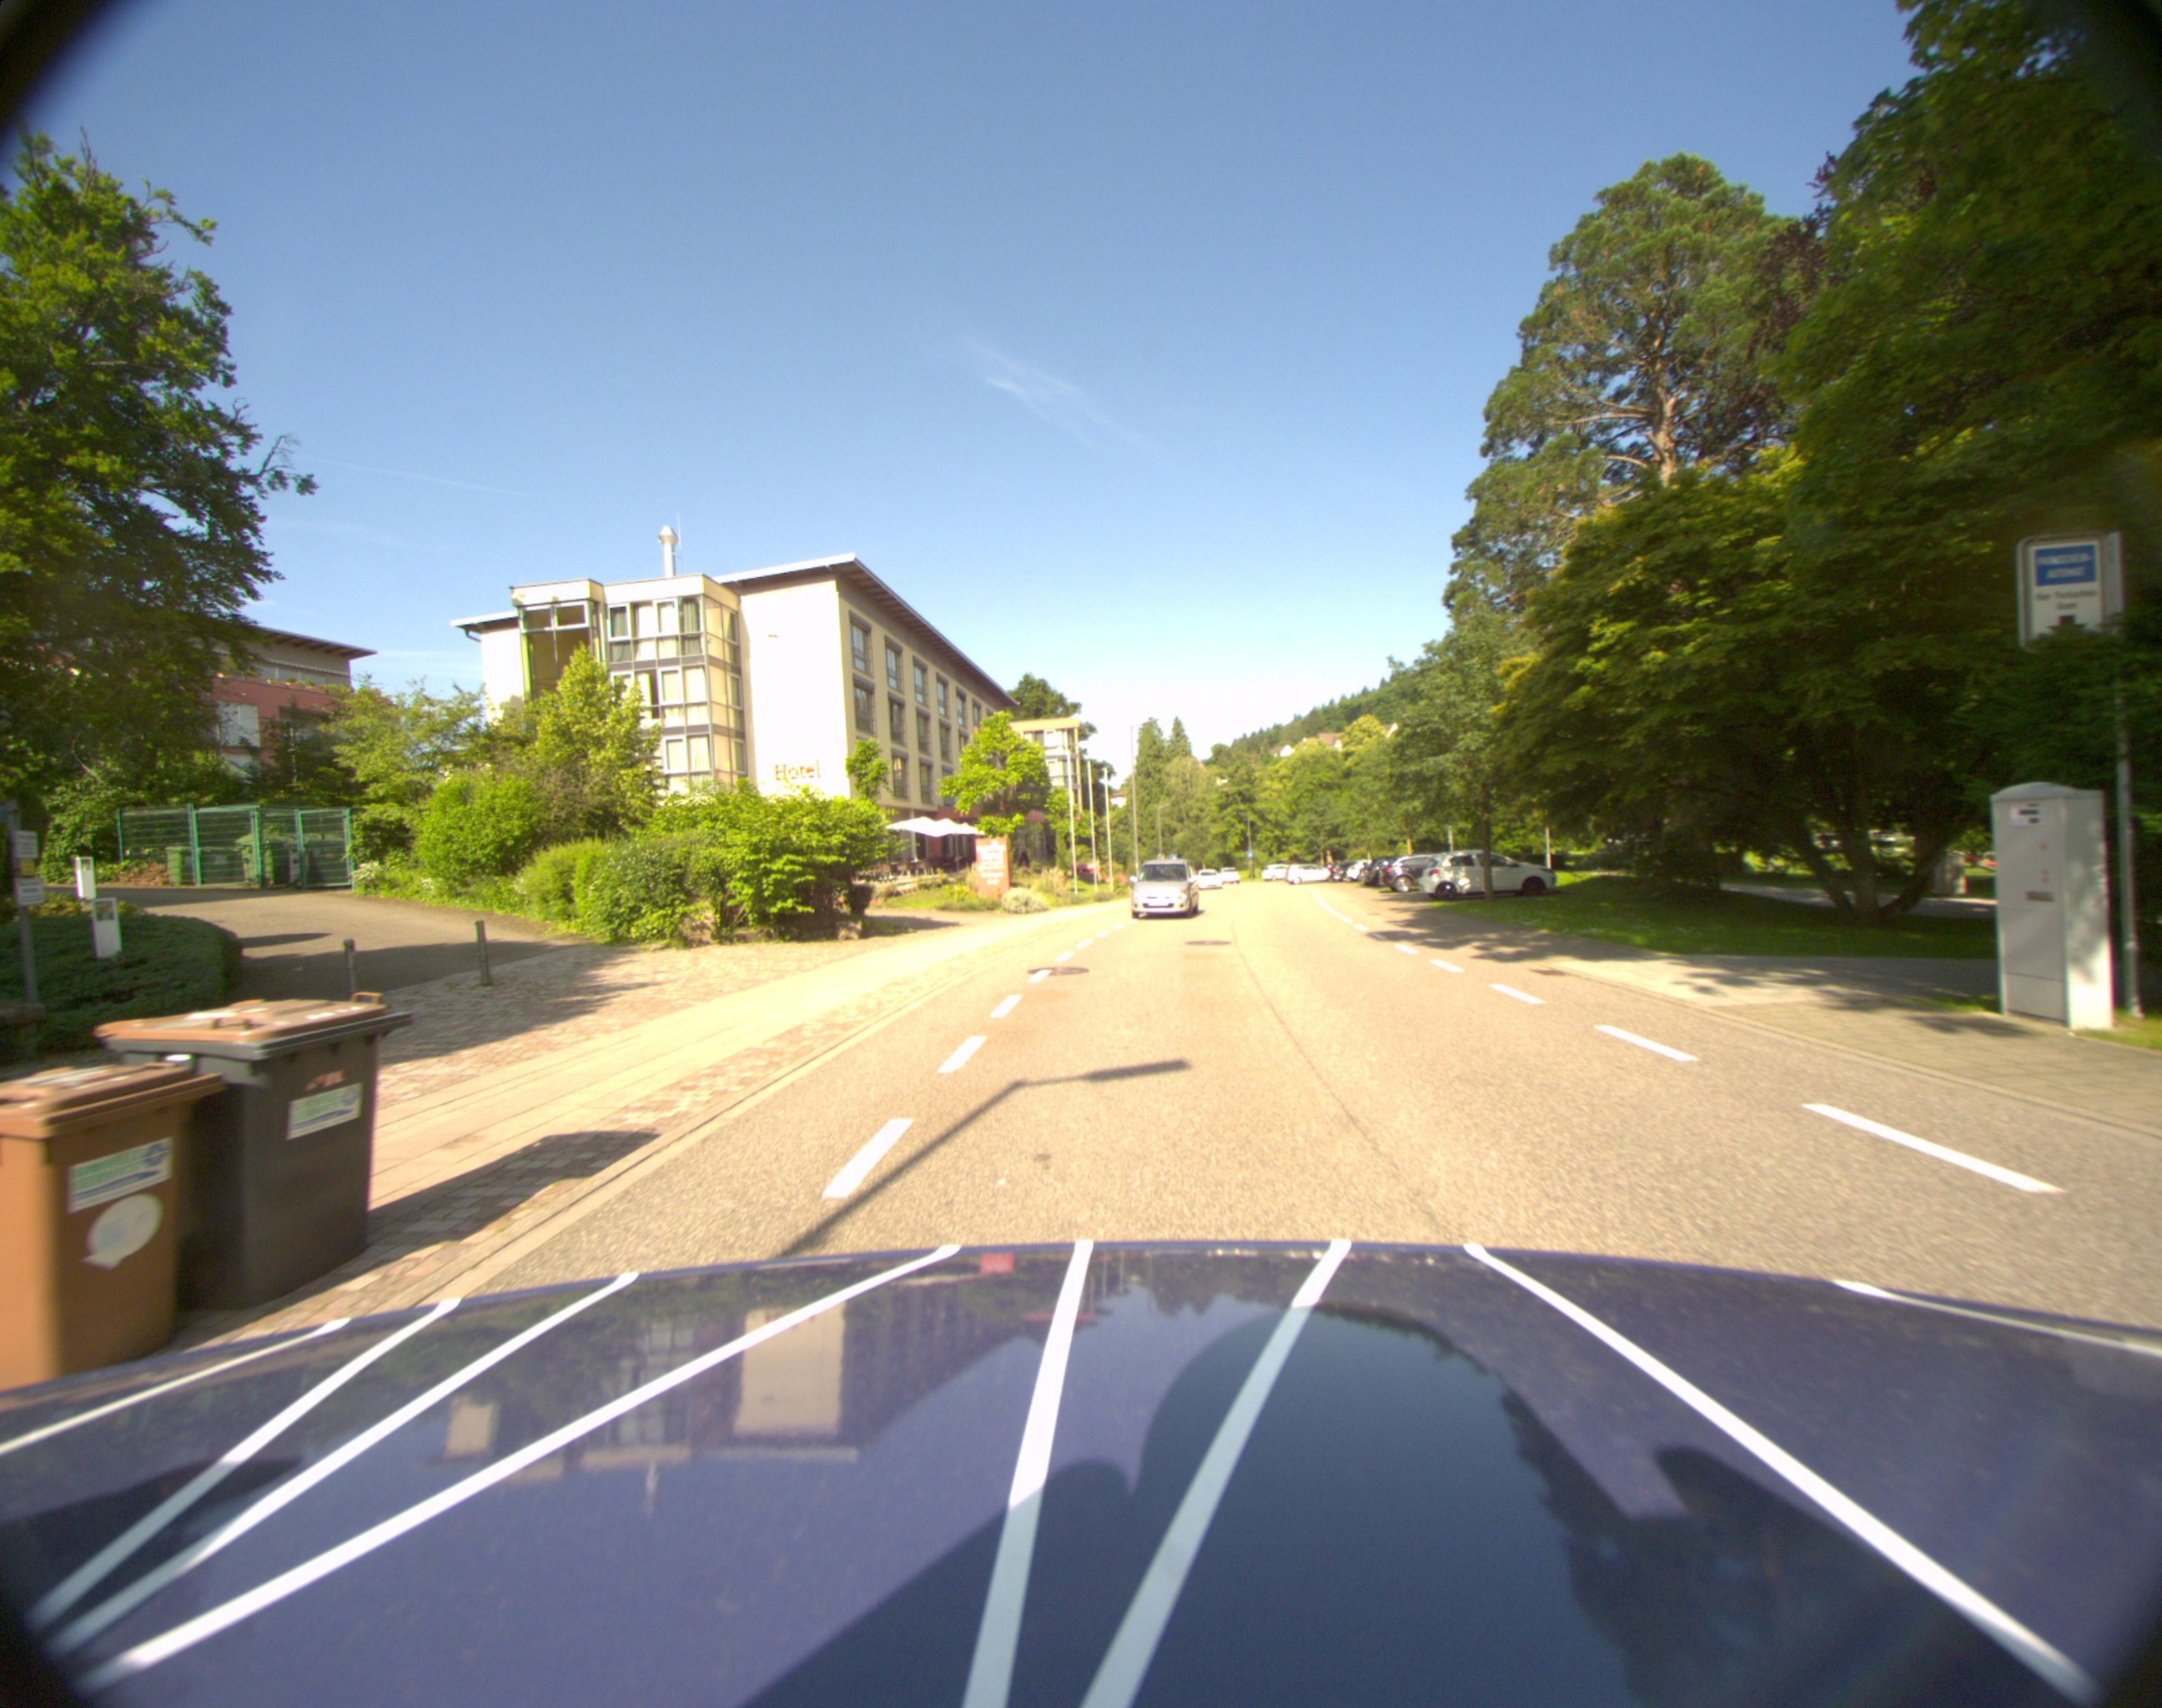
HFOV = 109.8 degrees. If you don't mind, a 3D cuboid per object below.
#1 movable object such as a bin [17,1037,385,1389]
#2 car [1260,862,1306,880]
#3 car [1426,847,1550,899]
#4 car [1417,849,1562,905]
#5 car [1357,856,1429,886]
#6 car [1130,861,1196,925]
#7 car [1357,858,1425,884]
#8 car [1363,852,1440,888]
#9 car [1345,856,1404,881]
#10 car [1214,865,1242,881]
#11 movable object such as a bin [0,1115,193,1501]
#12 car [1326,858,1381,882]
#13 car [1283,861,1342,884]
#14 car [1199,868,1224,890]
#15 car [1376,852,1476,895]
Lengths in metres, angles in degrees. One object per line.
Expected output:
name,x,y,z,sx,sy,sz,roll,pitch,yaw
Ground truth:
movable object such as a bin,-3.175,1.260,2.799,0.657,1.026,0.571,-1,1,2
car,19.922,1.651,74.859,4.000,1.468,1.515,-3,-1,-9
car,14.063,0.647,26.412,3.487,1.543,1.382,-4,-1,15
car,12.727,0.722,23.894,3.683,1.478,1.568,-4,-1,15
car,17.445,0.964,42.624,3.487,1.417,1.555,-5,-1,15
car,2.434,1.036,21.717,1.603,1.628,4.003,-1,0,10
car,18.446,1.013,45.337,3.487,1.293,1.555,-5,-1,15
car,16.814,0.817,40.021,3.487,1.610,1.382,-5,-1,15
car,19.723,0.982,51.131,3.487,1.417,1.555,-5,-1,15
car,14.249,1.840,73.839,1.775,1.495,4.000,-2,-1,-3
movable object such as a bin,-3.215,1.317,2.229,0.526,0.906,0.563,-1,0,2
car,19.310,1.139,53.995,3.487,1.417,1.555,-5,-1,15
car,17.518,1.397,57.668,3.996,1.389,1.517,-5,-2,4
car,9.818,1.842,56.932,1.739,1.488,3.933,-2,-1,10
car,14.240,0.810,31.541,3.487,1.536,1.445,-4,-1,15
